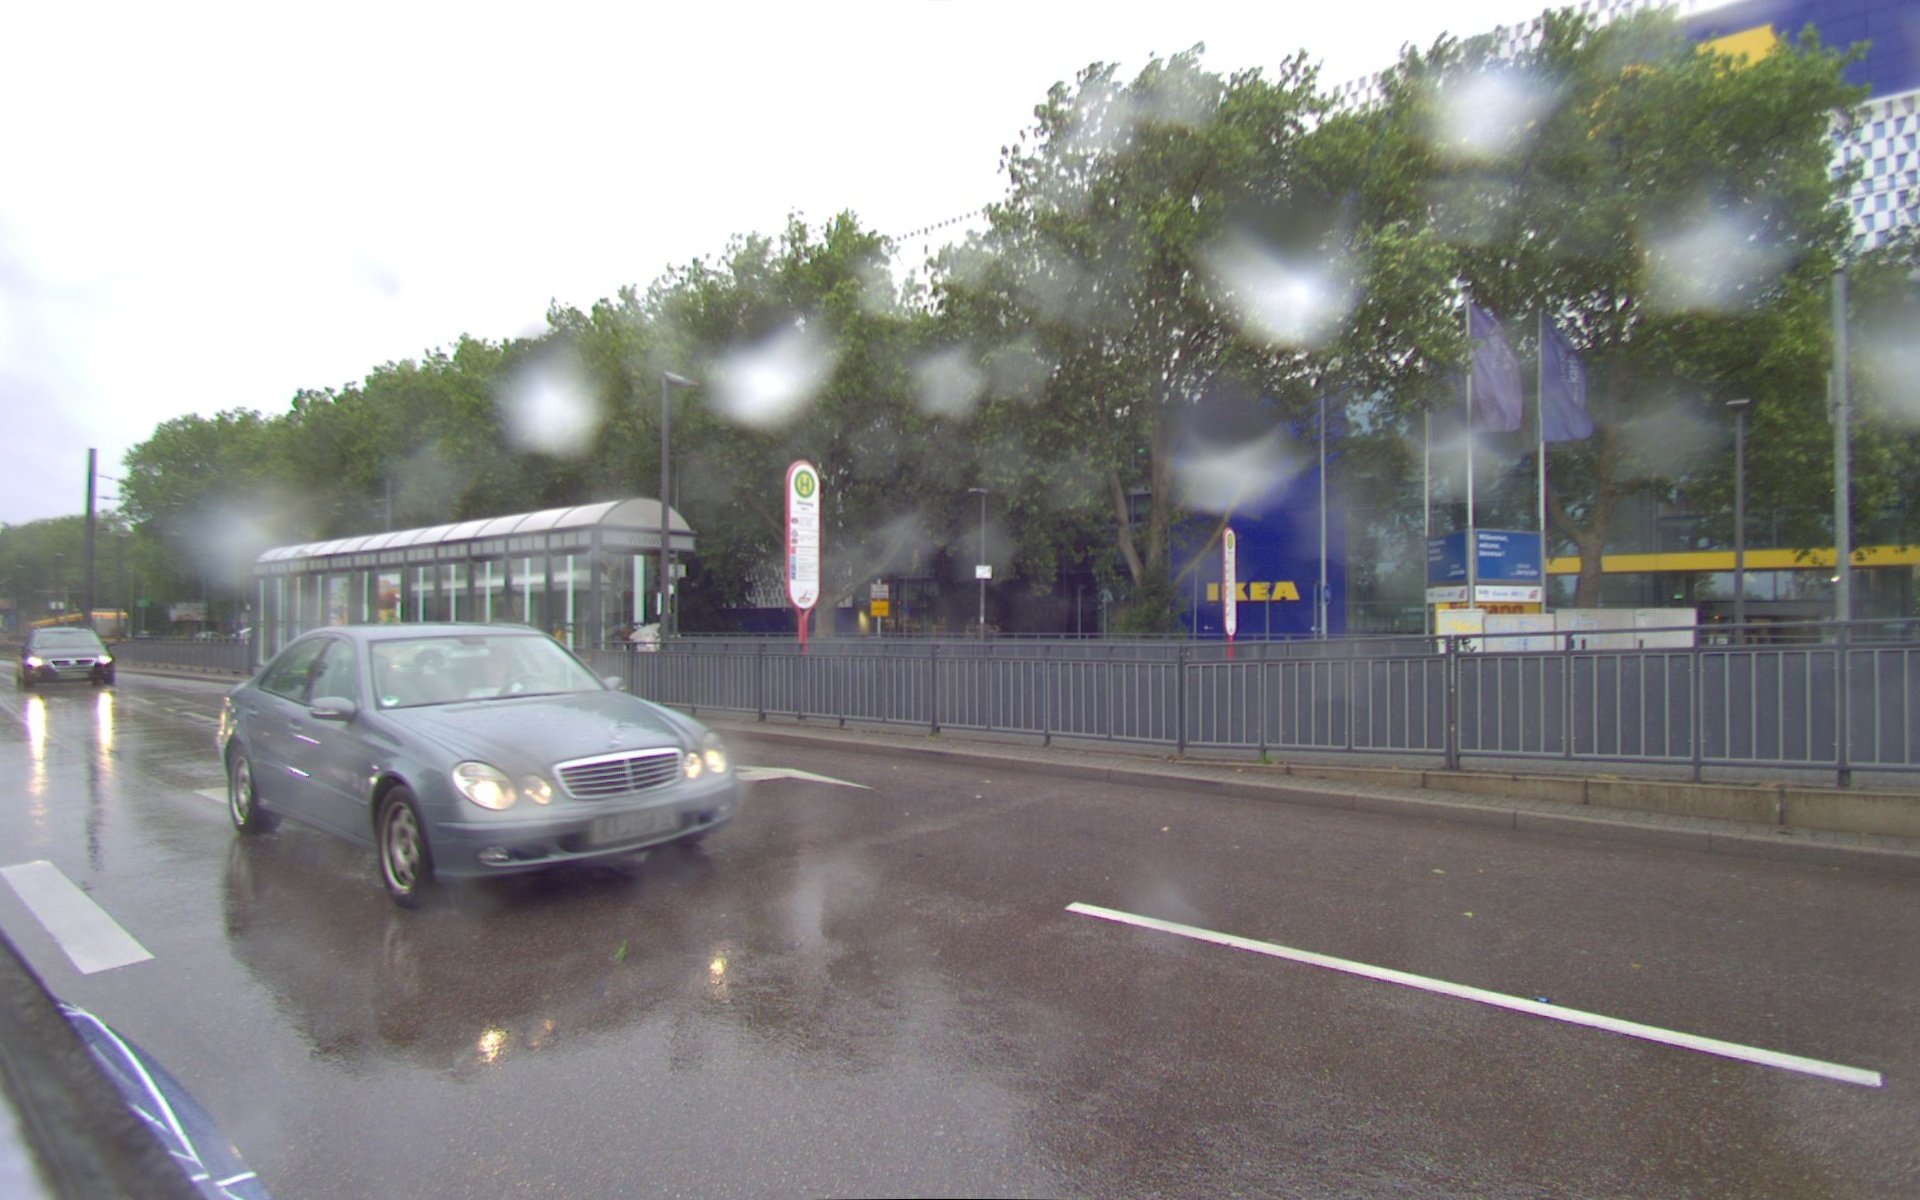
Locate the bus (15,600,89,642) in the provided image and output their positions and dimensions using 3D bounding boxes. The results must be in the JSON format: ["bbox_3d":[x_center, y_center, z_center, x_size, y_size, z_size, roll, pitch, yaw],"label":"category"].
[{"bbox_3d":[-79.179,1.756,88.104,15.055,3.354,2.901,-1,0,41],"label":"bus"}]

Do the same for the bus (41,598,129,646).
[{"bbox_3d":[-67.715,1.634,78.140,15.053,3.354,2.901,-1,0,41],"label":"bus"}]

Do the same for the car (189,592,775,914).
[{"bbox_3d":[-3.379,0.697,6.626,4.642,1.409,1.744,-1,0,41],"label":"car"}]

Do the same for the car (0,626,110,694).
[{"bbox_3d":[-23.283,1.456,25.911,4.596,1.512,1.752,-1,0,43],"label":"car"}]
